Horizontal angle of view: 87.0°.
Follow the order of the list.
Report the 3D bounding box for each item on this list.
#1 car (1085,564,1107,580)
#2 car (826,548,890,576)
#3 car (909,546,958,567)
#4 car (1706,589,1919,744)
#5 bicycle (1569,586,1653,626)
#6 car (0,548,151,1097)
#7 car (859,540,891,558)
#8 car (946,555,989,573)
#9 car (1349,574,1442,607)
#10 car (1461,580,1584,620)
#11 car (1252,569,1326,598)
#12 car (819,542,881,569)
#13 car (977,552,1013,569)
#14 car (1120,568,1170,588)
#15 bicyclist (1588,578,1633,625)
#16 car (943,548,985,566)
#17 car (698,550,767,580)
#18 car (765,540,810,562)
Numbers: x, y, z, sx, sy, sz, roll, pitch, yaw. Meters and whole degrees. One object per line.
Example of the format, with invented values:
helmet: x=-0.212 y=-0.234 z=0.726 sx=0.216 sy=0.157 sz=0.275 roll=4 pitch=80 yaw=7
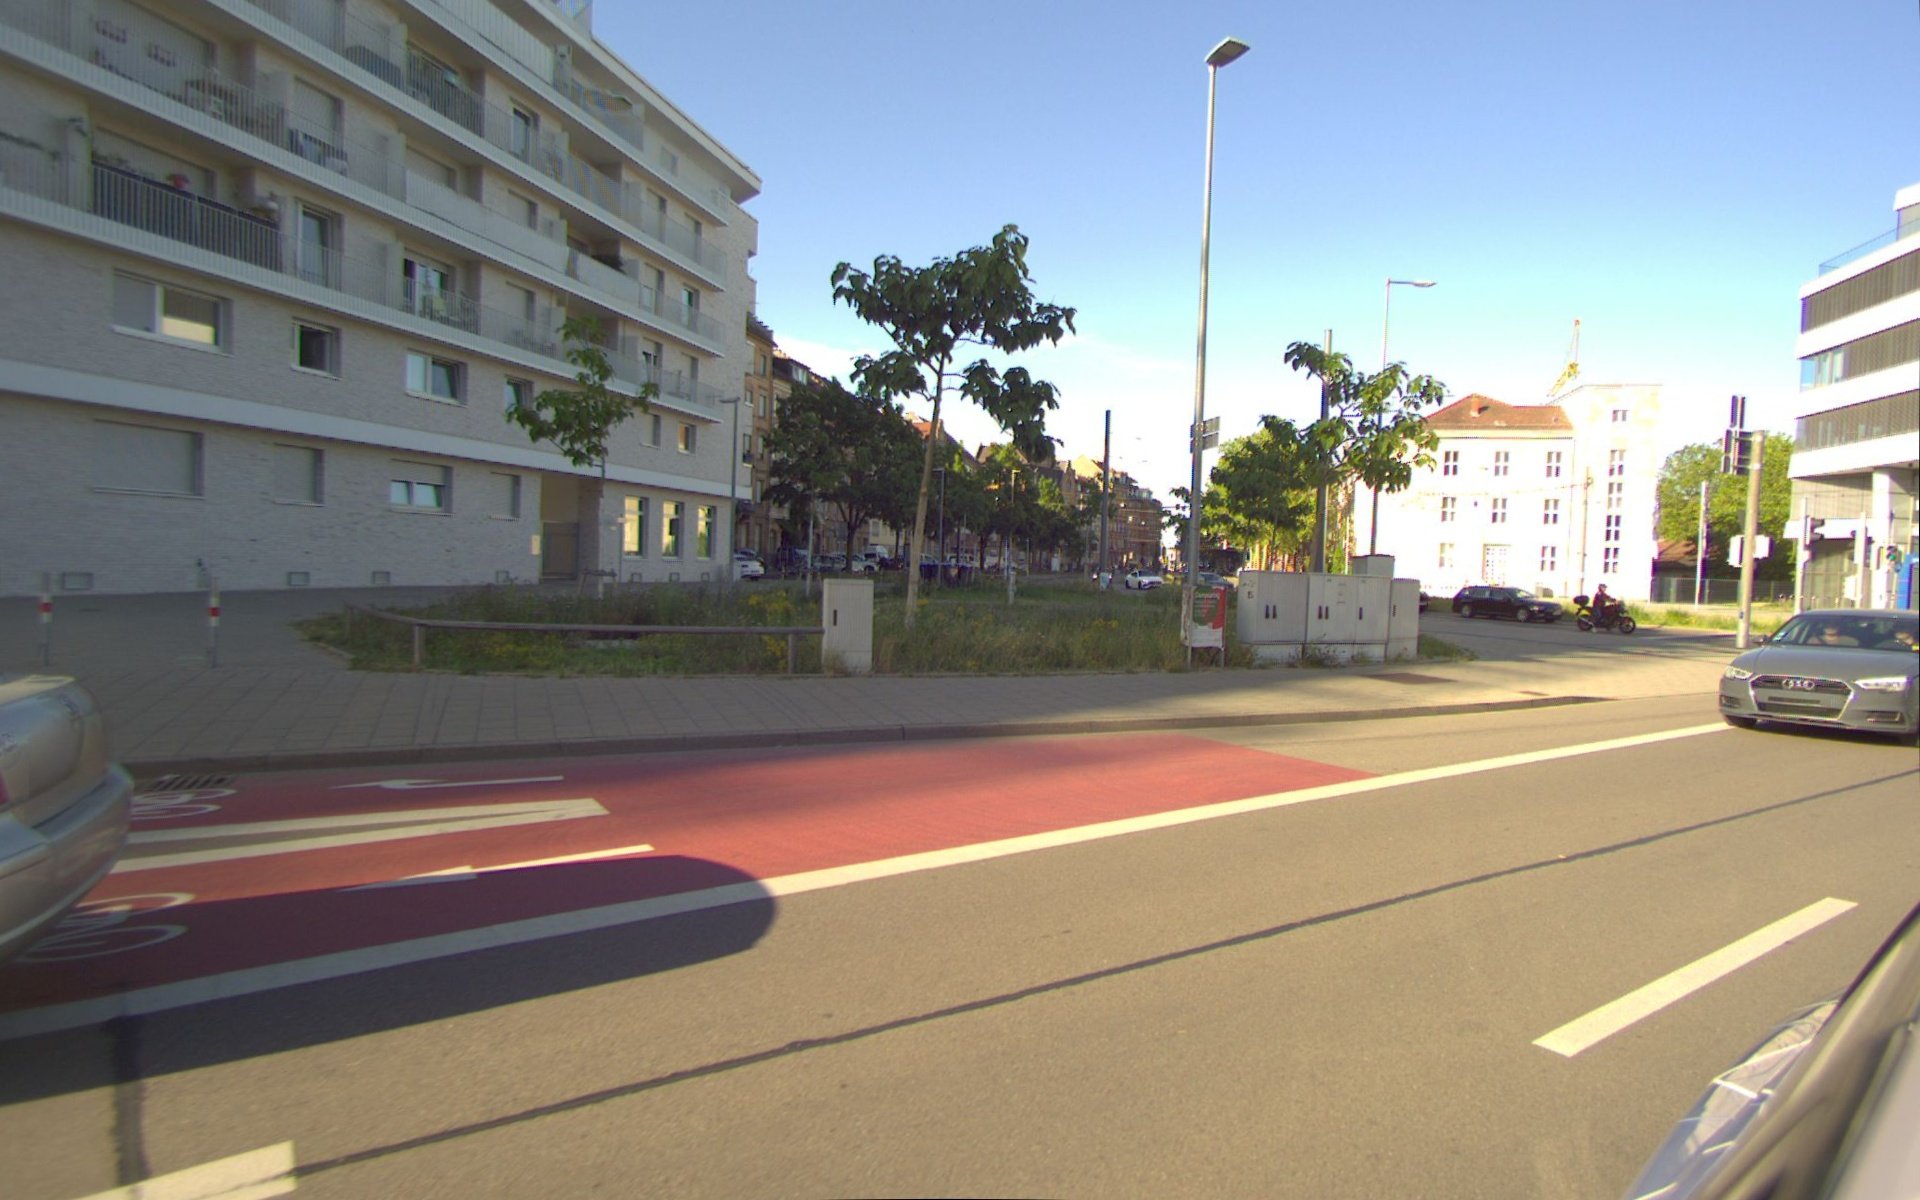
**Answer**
car: x=12.891 y=-2.647 z=95.878 sx=1.903 sy=1.393 sz=3.991 roll=2 pitch=2 yaw=9
car: x=-7.012 y=-2.591 z=69.428 sx=3.917 sy=1.738 sz=2.004 roll=1 pitch=2 yaw=-26
car: x=-2.414 y=-3.910 z=90.261 sx=3.915 sy=1.738 sz=2.005 roll=1 pitch=2 yaw=-18
car: x=10.501 y=0.655 z=11.513 sx=4.028 sy=1.459 sz=1.718 roll=1 pitch=1 yaw=-30
bicycle: x=23.525 y=0.202 z=36.625 sx=0.932 sy=1.328 sz=2.377 roll=1 pitch=3 yaw=-25
car: x=-4.896 y=0.551 z=2.392 sx=4.397 sy=1.448 sz=1.759 roll=1 pitch=3 yaw=-29
car: x=-8.756 y=-5.284 z=104.413 sx=1.971 sy=1.738 sz=4.244 roll=3 pitch=2 yaw=14
car: x=0.759 y=-3.773 z=105.084 sx=3.916 sy=1.738 sz=2.005 roll=1 pitch=2 yaw=-21
car: x=21.332 y=-0.489 z=49.690 sx=1.958 sy=1.439 sz=4.010 roll=1 pitch=3 yaw=-19
car: x=23.861 y=-0.049 z=43.104 sx=1.958 sy=1.439 sz=4.306 roll=1 pitch=3 yaw=-19
car: x=18.643 y=-0.970 z=57.524 sx=1.958 sy=1.439 sz=4.010 roll=1 pitch=3 yaw=-19
car: x=-7.798 y=-3.145 z=71.633 sx=3.917 sy=1.738 sz=2.004 roll=1 pitch=2 yaw=-26
car: x=4.329 y=-4.869 z=124.670 sx=3.915 sy=1.838 sz=2.005 roll=1 pitch=2 yaw=-16
car: x=13.733 y=-1.660 z=75.502 sx=1.958 sy=1.259 sz=4.010 roll=1 pitch=3 yaw=-18
bicyclist: x=23.537 y=0.040 z=36.641 sx=0.861 sy=1.626 sz=1.010 roll=1 pitch=2 yaw=-25
car: x=0.412 y=-4.543 z=107.765 sx=4.174 sy=1.738 sz=2.004 roll=2 pitch=2 yaw=-10
car: x=-12.193 y=-1.887 z=54.108 sx=1.965 sy=1.415 sz=3.996 roll=0 pitch=3 yaw=-41
car: x=-14.012 y=-3.972 z=82.392 sx=1.971 sy=1.738 sz=4.244 roll=3 pitch=2 yaw=14
